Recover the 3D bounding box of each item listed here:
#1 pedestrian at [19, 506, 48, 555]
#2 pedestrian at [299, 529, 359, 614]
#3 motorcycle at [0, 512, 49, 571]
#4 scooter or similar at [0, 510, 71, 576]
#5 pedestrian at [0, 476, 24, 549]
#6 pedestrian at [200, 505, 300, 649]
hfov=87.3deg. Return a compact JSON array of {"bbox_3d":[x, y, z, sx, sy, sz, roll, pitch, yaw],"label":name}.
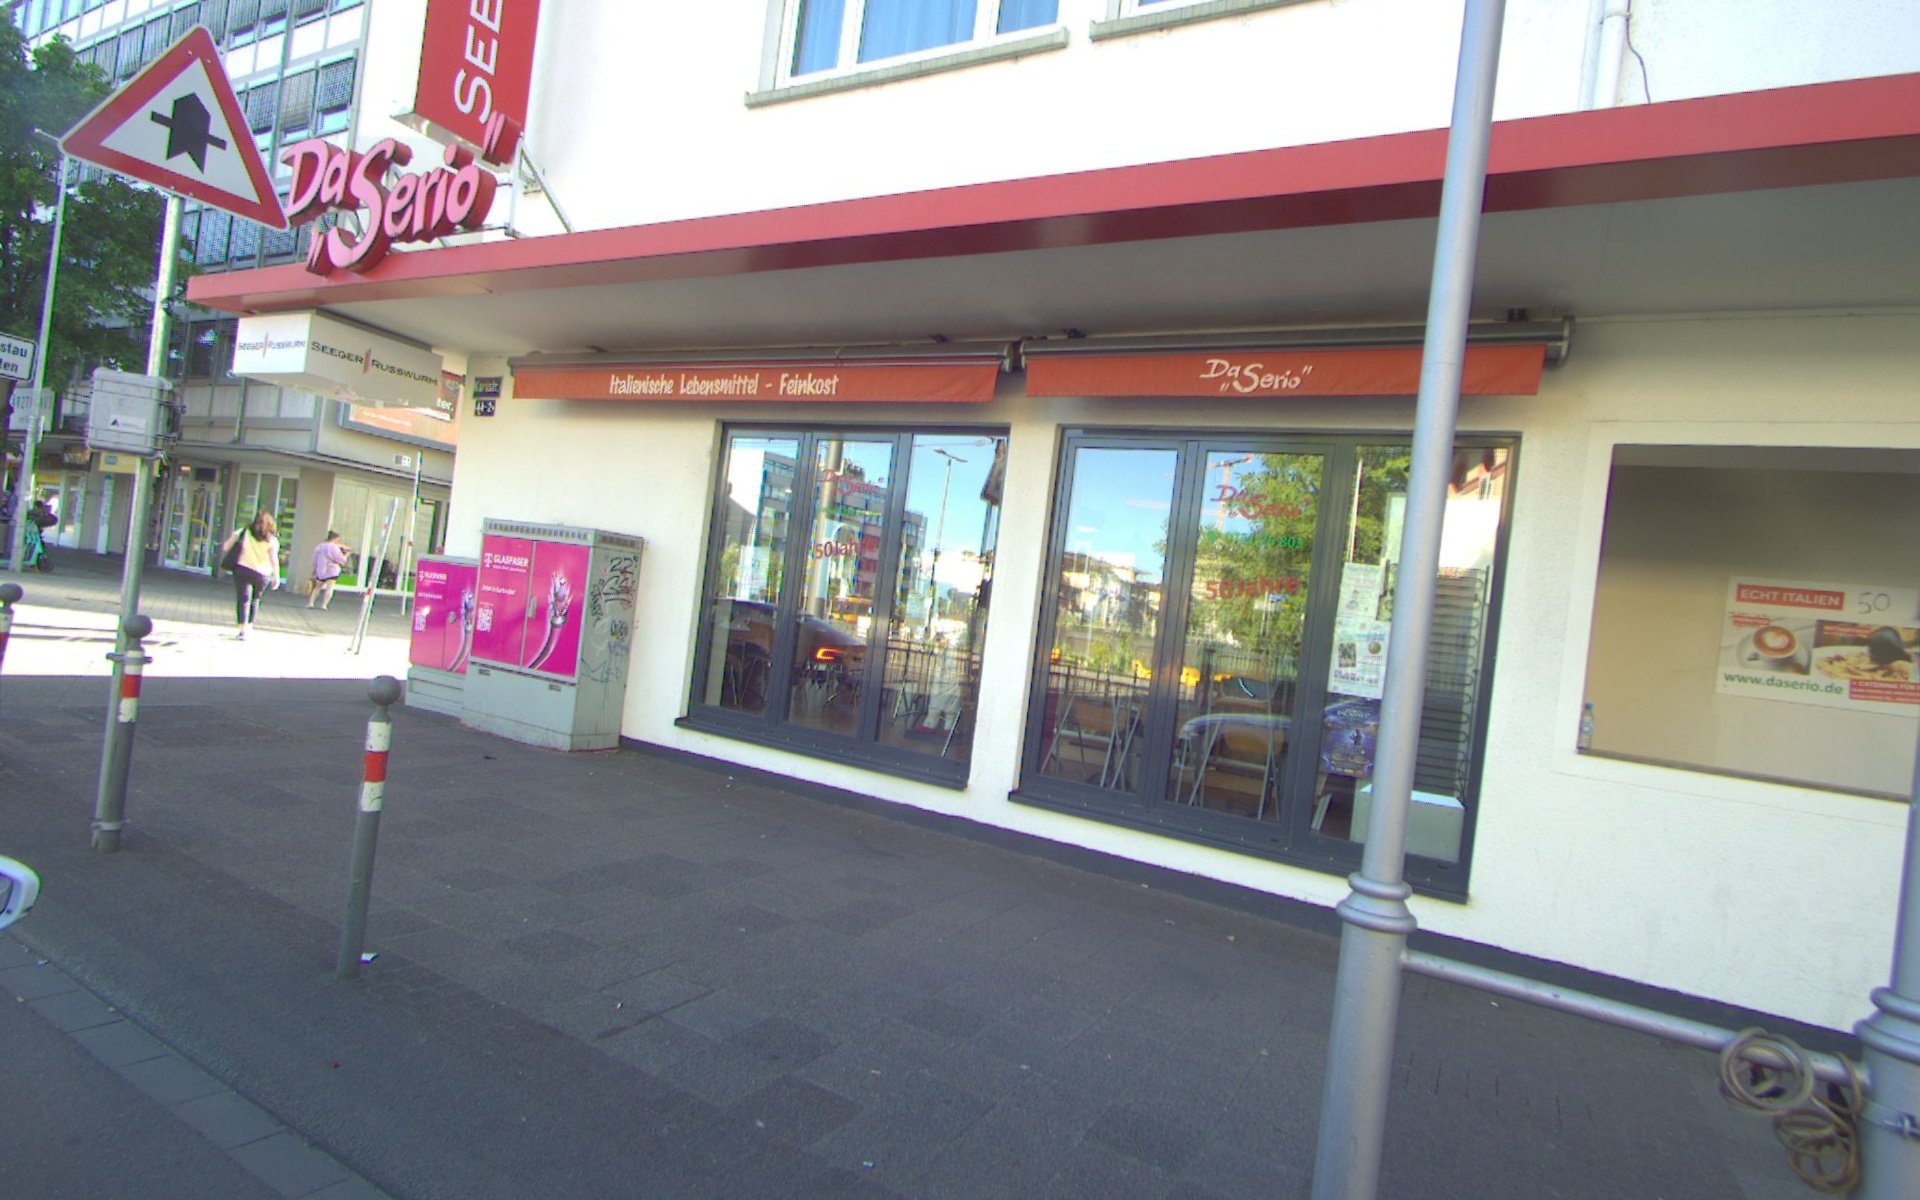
[{"bbox_3d":[-27.329,-2.042,29.671,0.504,1.359,0.390,6,-1,34],"label":"pedestrian"},{"bbox_3d":[-13.535,-0.602,21.563,0.884,1.687,0.801,8,-1,-35],"label":"pedestrian"},{"bbox_3d":[-21.568,-1.376,22.400,0.532,1.186,1.711,7,-2,30],"label":"motorcycle"},{"bbox_3d":[-19.934,-1.230,21.171,1.628,1.229,0.640,8,-1,-29],"label":"scooter or similar"},{"bbox_3d":[-27.746,-2.554,29.111,0.570,2.037,0.663,6,-1,34],"label":"pedestrian"},{"bbox_3d":[-9.594,-0.310,13.625,0.909,1.773,1.029,7,0,-35],"label":"pedestrian"}]
